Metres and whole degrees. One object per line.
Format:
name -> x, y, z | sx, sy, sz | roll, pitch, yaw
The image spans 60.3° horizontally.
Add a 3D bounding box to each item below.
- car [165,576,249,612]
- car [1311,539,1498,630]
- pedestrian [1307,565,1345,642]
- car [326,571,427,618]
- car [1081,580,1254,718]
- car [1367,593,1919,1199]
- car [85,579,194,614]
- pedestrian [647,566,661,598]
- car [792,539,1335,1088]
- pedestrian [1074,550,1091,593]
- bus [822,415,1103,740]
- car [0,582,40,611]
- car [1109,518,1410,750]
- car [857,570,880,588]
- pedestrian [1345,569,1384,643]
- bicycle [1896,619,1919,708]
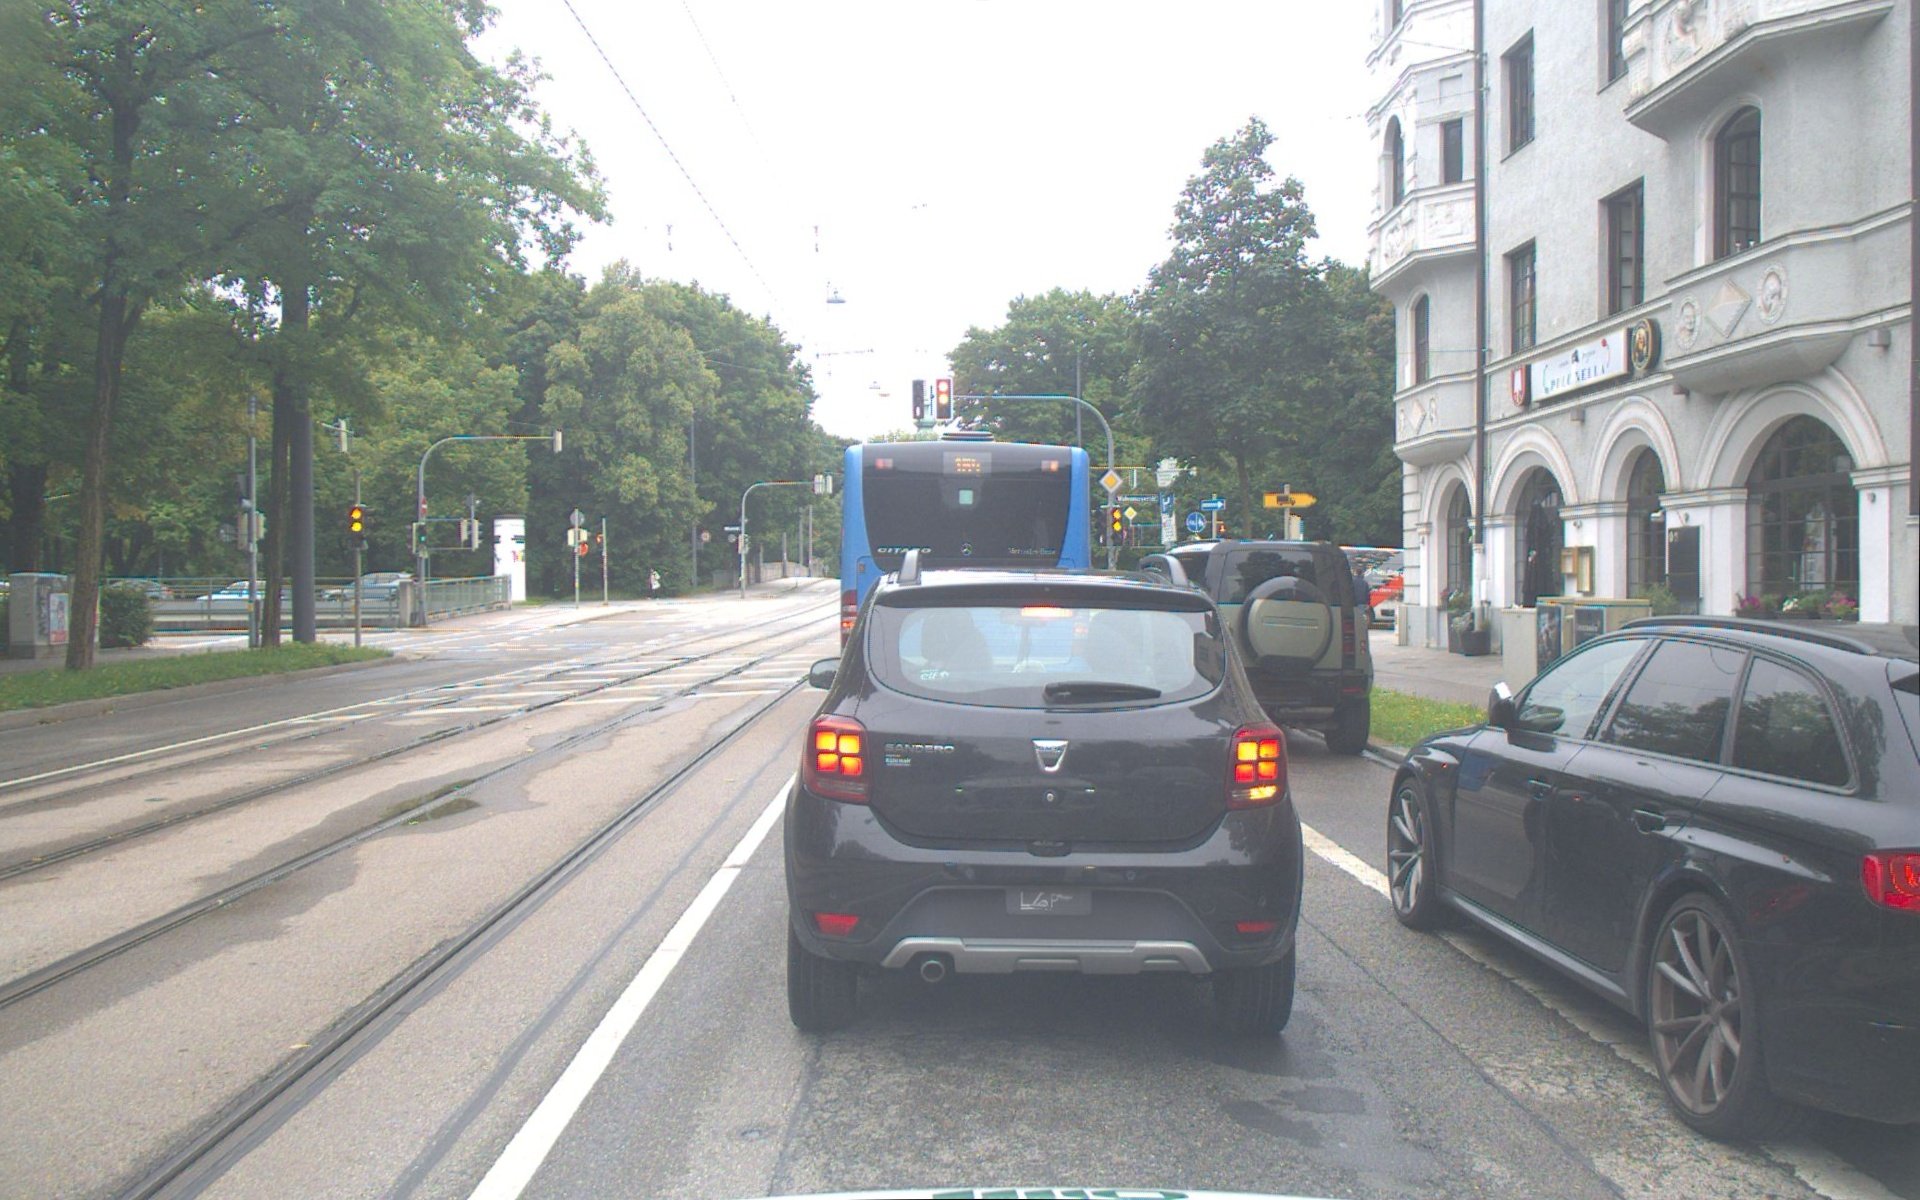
car -> -32.753, -0.272, 72.026 | 3.050, 1.477, 1.249 | 1, 0, -6
car -> 13.829, -0.478, 51.660 | 5.191, 2.658, 2.229 | 1, 0, -4
pedestrian -> 8.997, 0.085, 40.709 | 0.690, 1.848, 0.869 | 1, 0, -1
car -> -25.706, -0.243, 72.962 | 3.946, 1.920, 1.488 | 1, 0, -8
car -> 2.662, 0.578, 22.086 | 1.679, 1.619, 4.326 | 1, 0, -1
car -> 2.918, 0.723, 5.887 | 1.681, 1.451, 4.601 | 1, 0, -1
car -> -35.623, -0.153, 71.882 | 3.848, 1.429, 1.719 | 1, 0, -5
pedestrian -> -15.180, -0.893, 82.151 | 0.520, 1.527, 0.588 | 1, 0, 4
car -> 0.269, 0.625, 6.630 | 1.568, 1.584, 3.524 | 1, 0, -1
pedestrian -> 6.242, -1.439, 84.320 | 0.747, 2.153, 0.853 | -1, 1, -1
bus -> -0.125, -0.227, 19.318 | 2.625, 3.050, 6.957 | 1, 0, -3
car -> -41.917, -0.164, 71.377 | 3.655, 1.206, 1.249 | 1, 0, -5
car -> 2.772, 0.279, 16.504 | 1.876, 1.939, 4.805 | 1, 0, -3
car -> -7.552, -1.699, 136.492 | 1.752, 1.394, 3.399 | 1, 0, -2
pedestrian -> 9.808, 0.136, 40.129 | 0.690, 1.762, 0.843 | 1, 0, -1
bicycle -> 10.452, 0.688, 17.779 | 0.254, 0.947, 0.886 | 1, 0, 0
